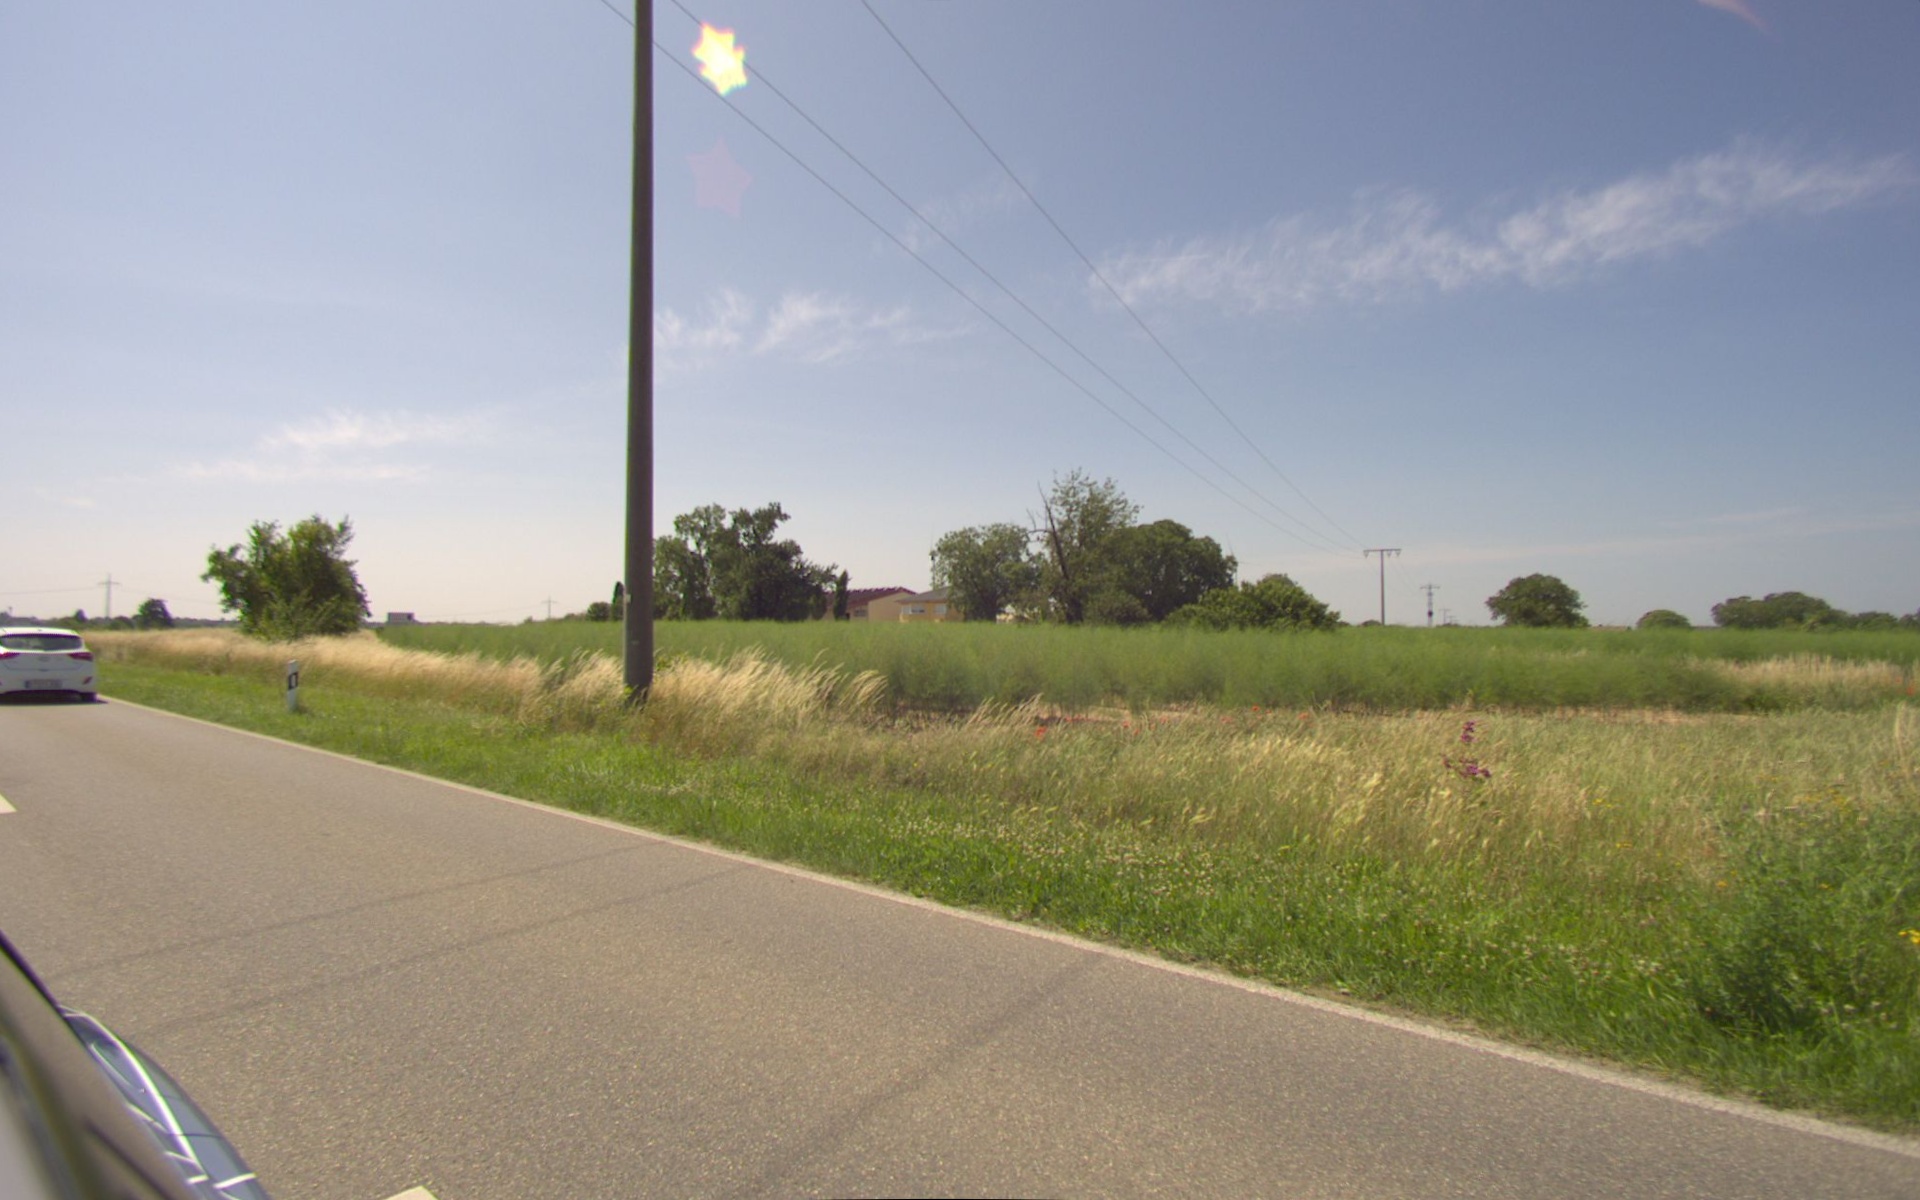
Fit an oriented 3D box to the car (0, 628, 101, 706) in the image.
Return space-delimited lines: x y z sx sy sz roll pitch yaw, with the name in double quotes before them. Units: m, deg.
"car" -18.826 1.283 20.304 4.183 1.420 1.773 -1 -3 41
